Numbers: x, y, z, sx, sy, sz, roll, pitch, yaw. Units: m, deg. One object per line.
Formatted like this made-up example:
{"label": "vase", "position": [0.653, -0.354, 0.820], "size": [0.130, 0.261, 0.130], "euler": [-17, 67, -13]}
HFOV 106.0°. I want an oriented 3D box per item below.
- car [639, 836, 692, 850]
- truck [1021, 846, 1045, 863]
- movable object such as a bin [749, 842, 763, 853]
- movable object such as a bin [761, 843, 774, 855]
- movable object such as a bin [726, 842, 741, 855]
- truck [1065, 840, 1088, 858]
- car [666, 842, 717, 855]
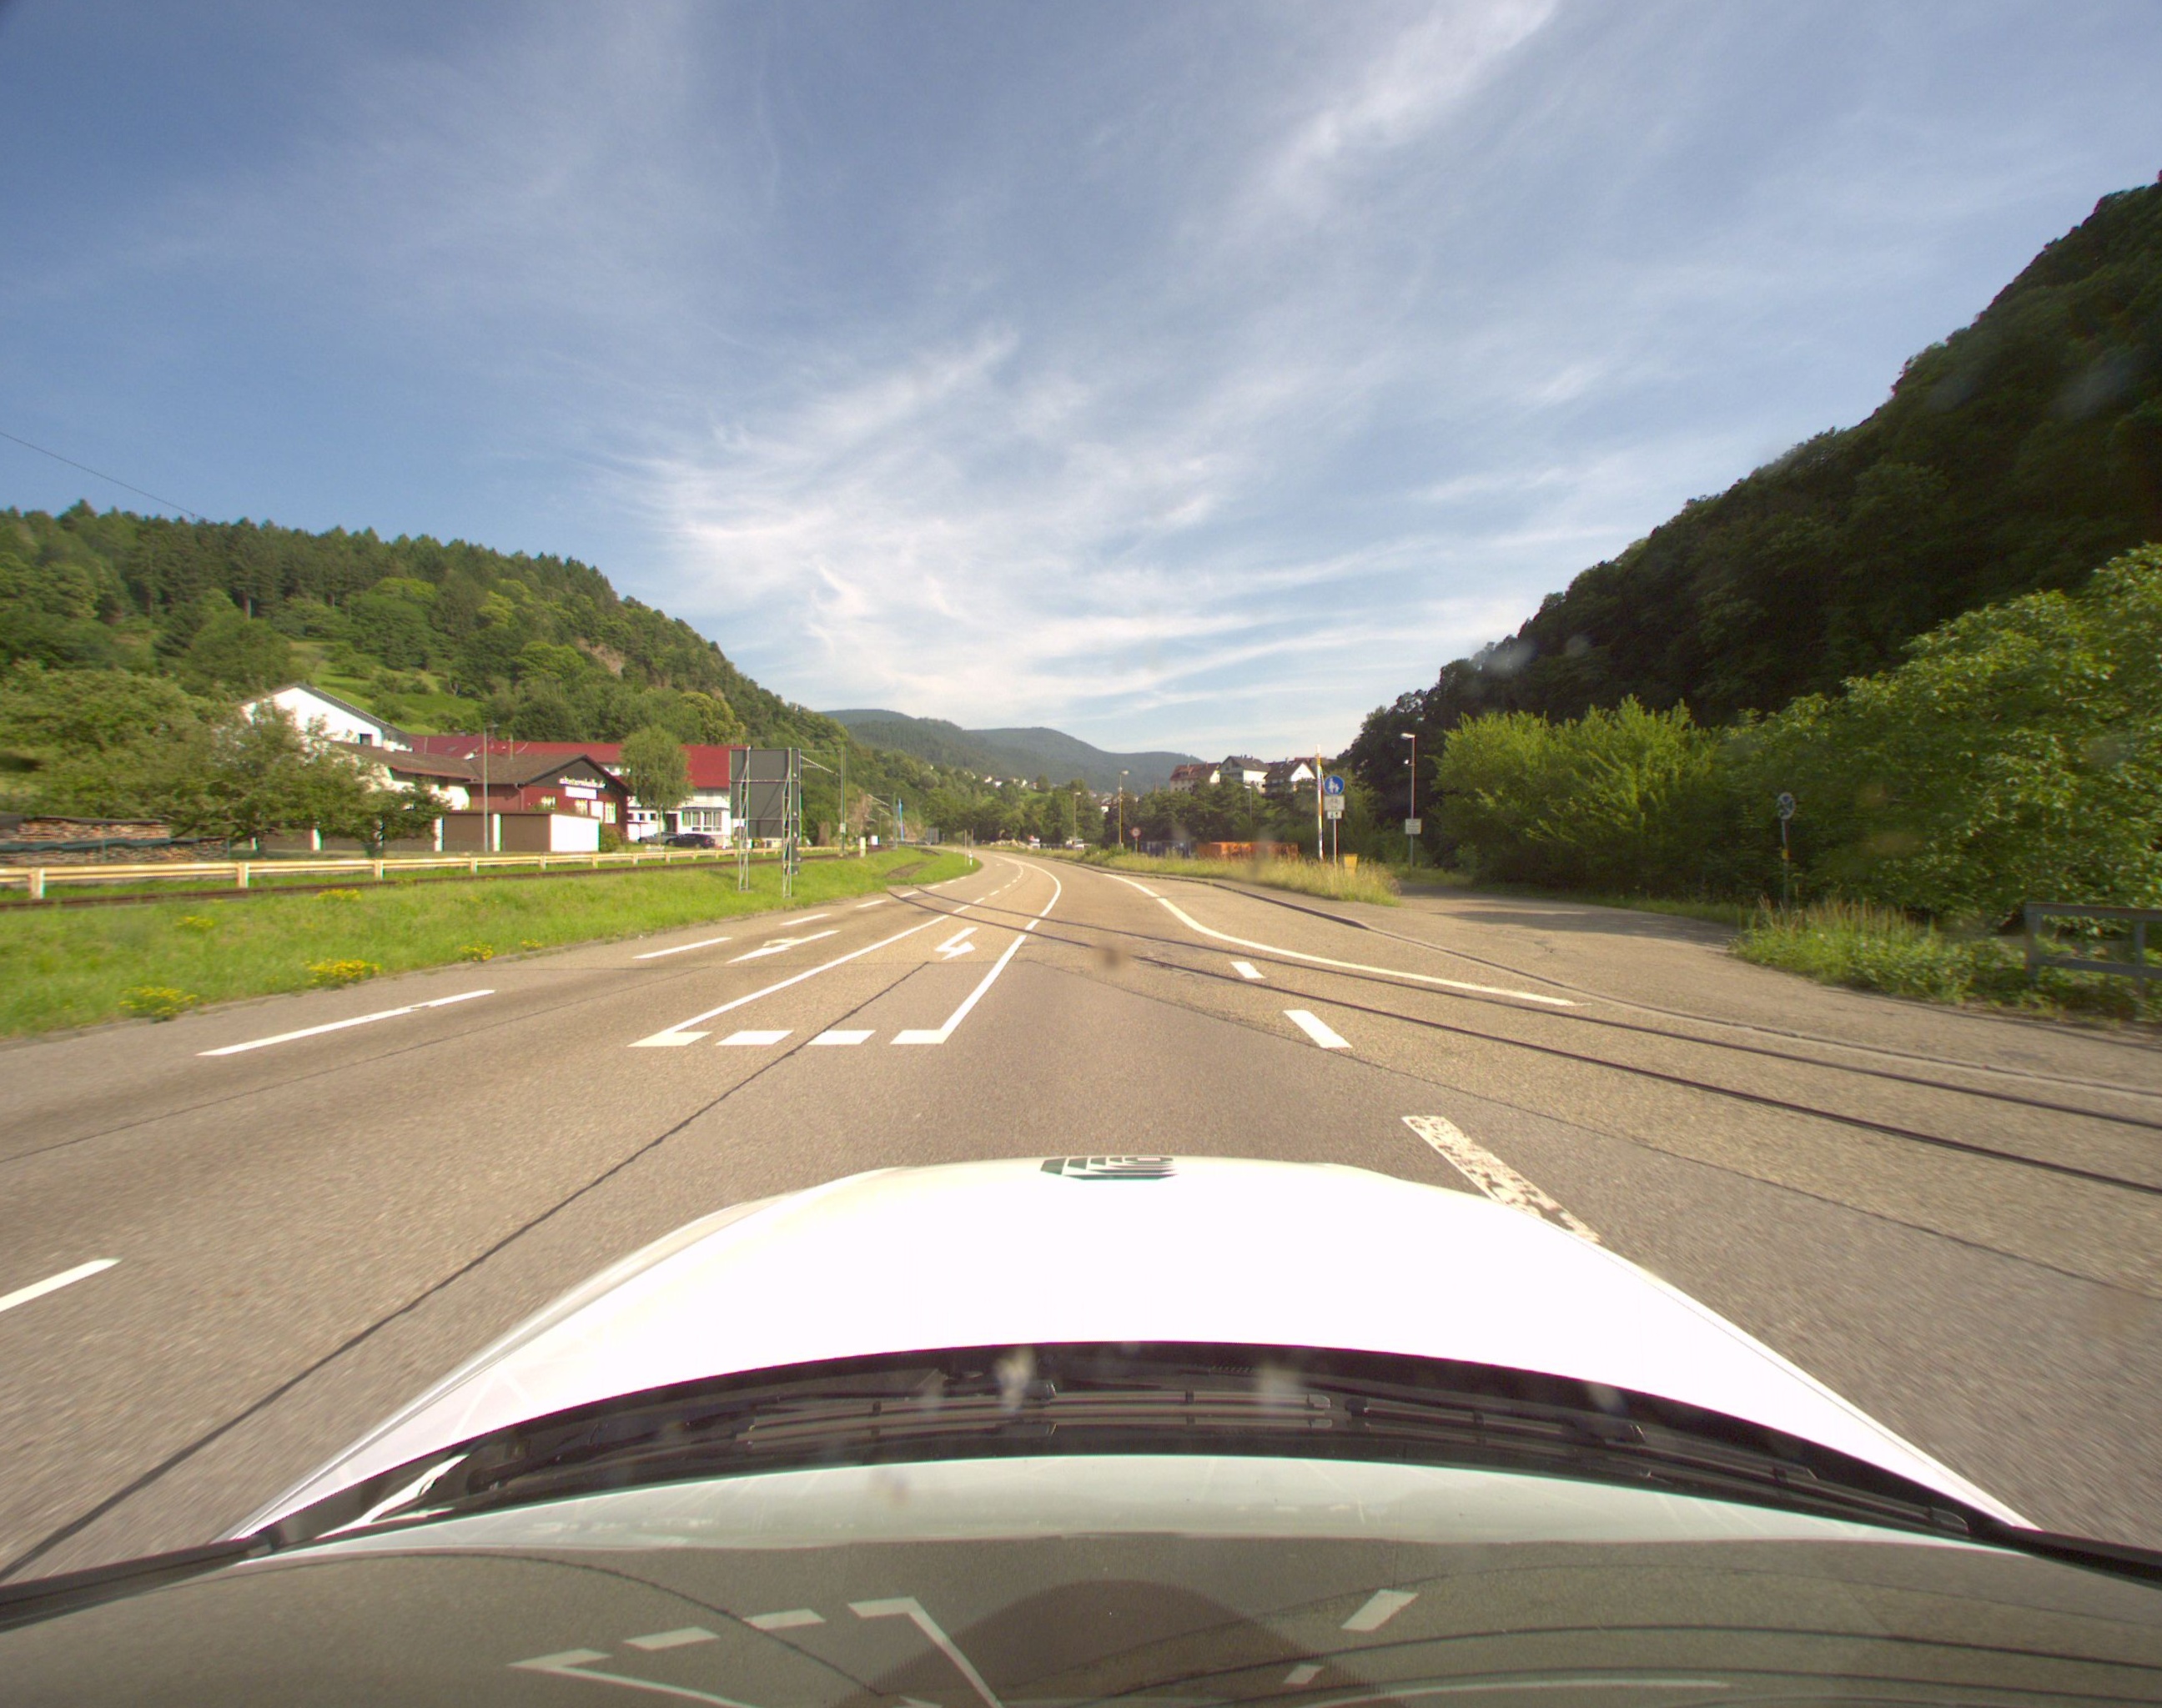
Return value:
{"label": "car", "position": [-41.315, -1.131, 81.040], "size": [4.251, 1.329, 1.750], "euler": [0, 0, -9]}
{"label": "truck", "position": [-11.702, 0.093, 196.321], "size": [3.116, 3.782, 8.579], "euler": [1, 0, -23]}
{"label": "movable object such as a bin", "position": [-34.708, -0.693, 86.991], "size": [1.089, 1.192, 1.139], "euler": [1, -1, -9]}
{"label": "movable object such as a bin", "position": [-33.576, -0.519, 87.285], "size": [1.089, 1.192, 1.139], "euler": [1, -1, -9]}
{"label": "movable object such as a bin", "position": [-31.877, -0.527, 74.695], "size": [1.141, 1.192, 1.088], "euler": [1, -1, -15]}
{"label": "truck", "position": [-1.148, -1.053, 179.951], "size": [3.107, 3.782, 8.603], "euler": [1, 0, -14]}
{"label": "car", "position": [-37.549, -0.540, 78.649], "size": [4.092, 1.270, 1.732], "euler": [1, 0, -8]}
